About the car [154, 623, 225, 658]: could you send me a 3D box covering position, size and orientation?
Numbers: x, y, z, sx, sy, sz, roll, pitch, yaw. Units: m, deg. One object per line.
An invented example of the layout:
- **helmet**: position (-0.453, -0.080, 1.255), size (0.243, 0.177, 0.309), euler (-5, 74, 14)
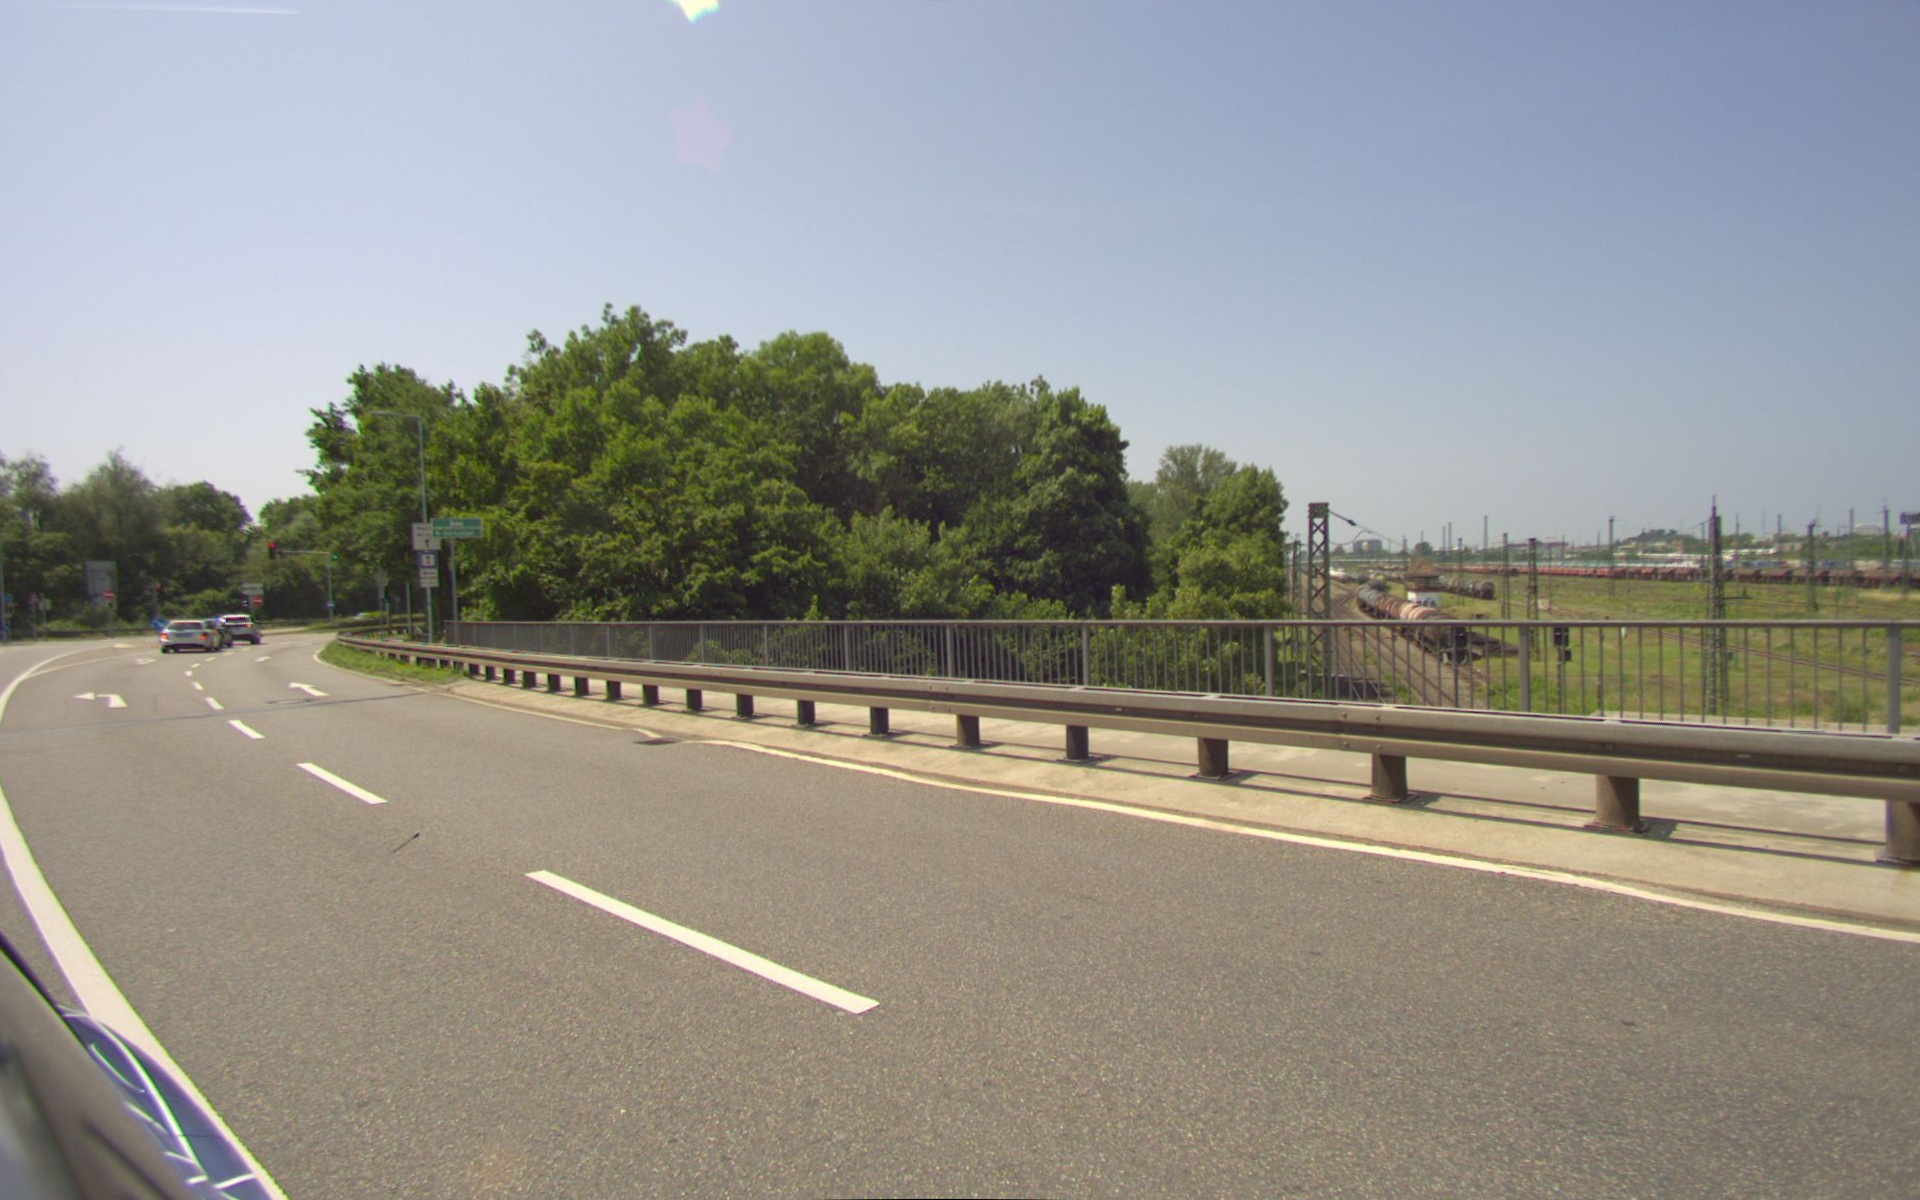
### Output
- **car**: position (-33.805, 1.722, 44.518), size (1.802, 1.417, 4.903), euler (1, -1, -29)

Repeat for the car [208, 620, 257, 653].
- **car**: position (-40.113, 1.976, 55.887), size (1.802, 1.651, 4.592), euler (0, -1, -31)

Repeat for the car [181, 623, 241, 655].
- **car**: position (-36.701, 1.870, 49.694), size (1.802, 1.417, 4.561), euler (0, 0, -29)
